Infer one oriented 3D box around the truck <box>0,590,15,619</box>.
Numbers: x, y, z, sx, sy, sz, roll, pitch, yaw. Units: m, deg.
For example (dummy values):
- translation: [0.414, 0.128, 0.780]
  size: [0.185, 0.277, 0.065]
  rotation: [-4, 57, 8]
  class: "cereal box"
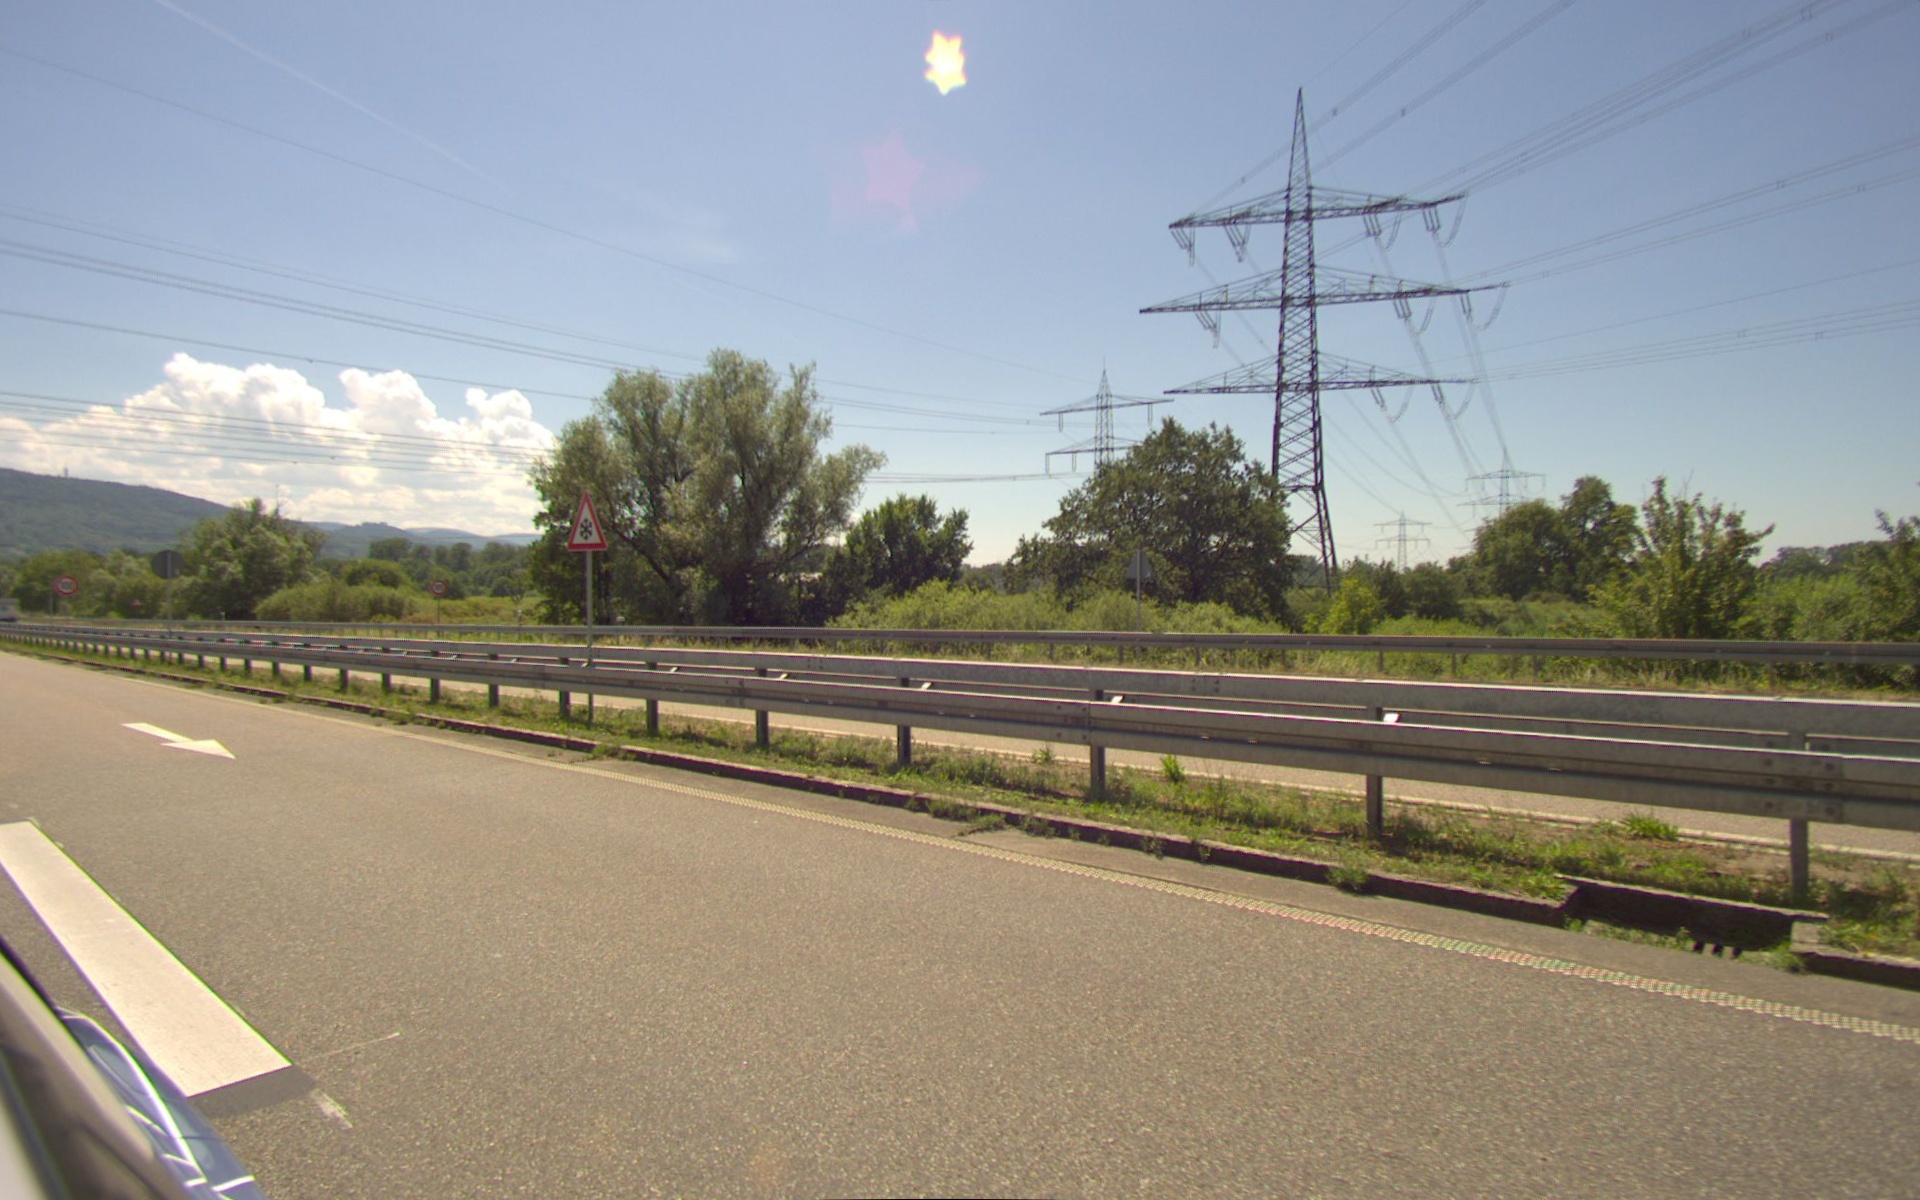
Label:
- translation: [-110.210, 0.539, 115.535]
  size: [8.402, 3.217, 2.689]
  rotation: [0, 0, 42]
  class: "truck"
